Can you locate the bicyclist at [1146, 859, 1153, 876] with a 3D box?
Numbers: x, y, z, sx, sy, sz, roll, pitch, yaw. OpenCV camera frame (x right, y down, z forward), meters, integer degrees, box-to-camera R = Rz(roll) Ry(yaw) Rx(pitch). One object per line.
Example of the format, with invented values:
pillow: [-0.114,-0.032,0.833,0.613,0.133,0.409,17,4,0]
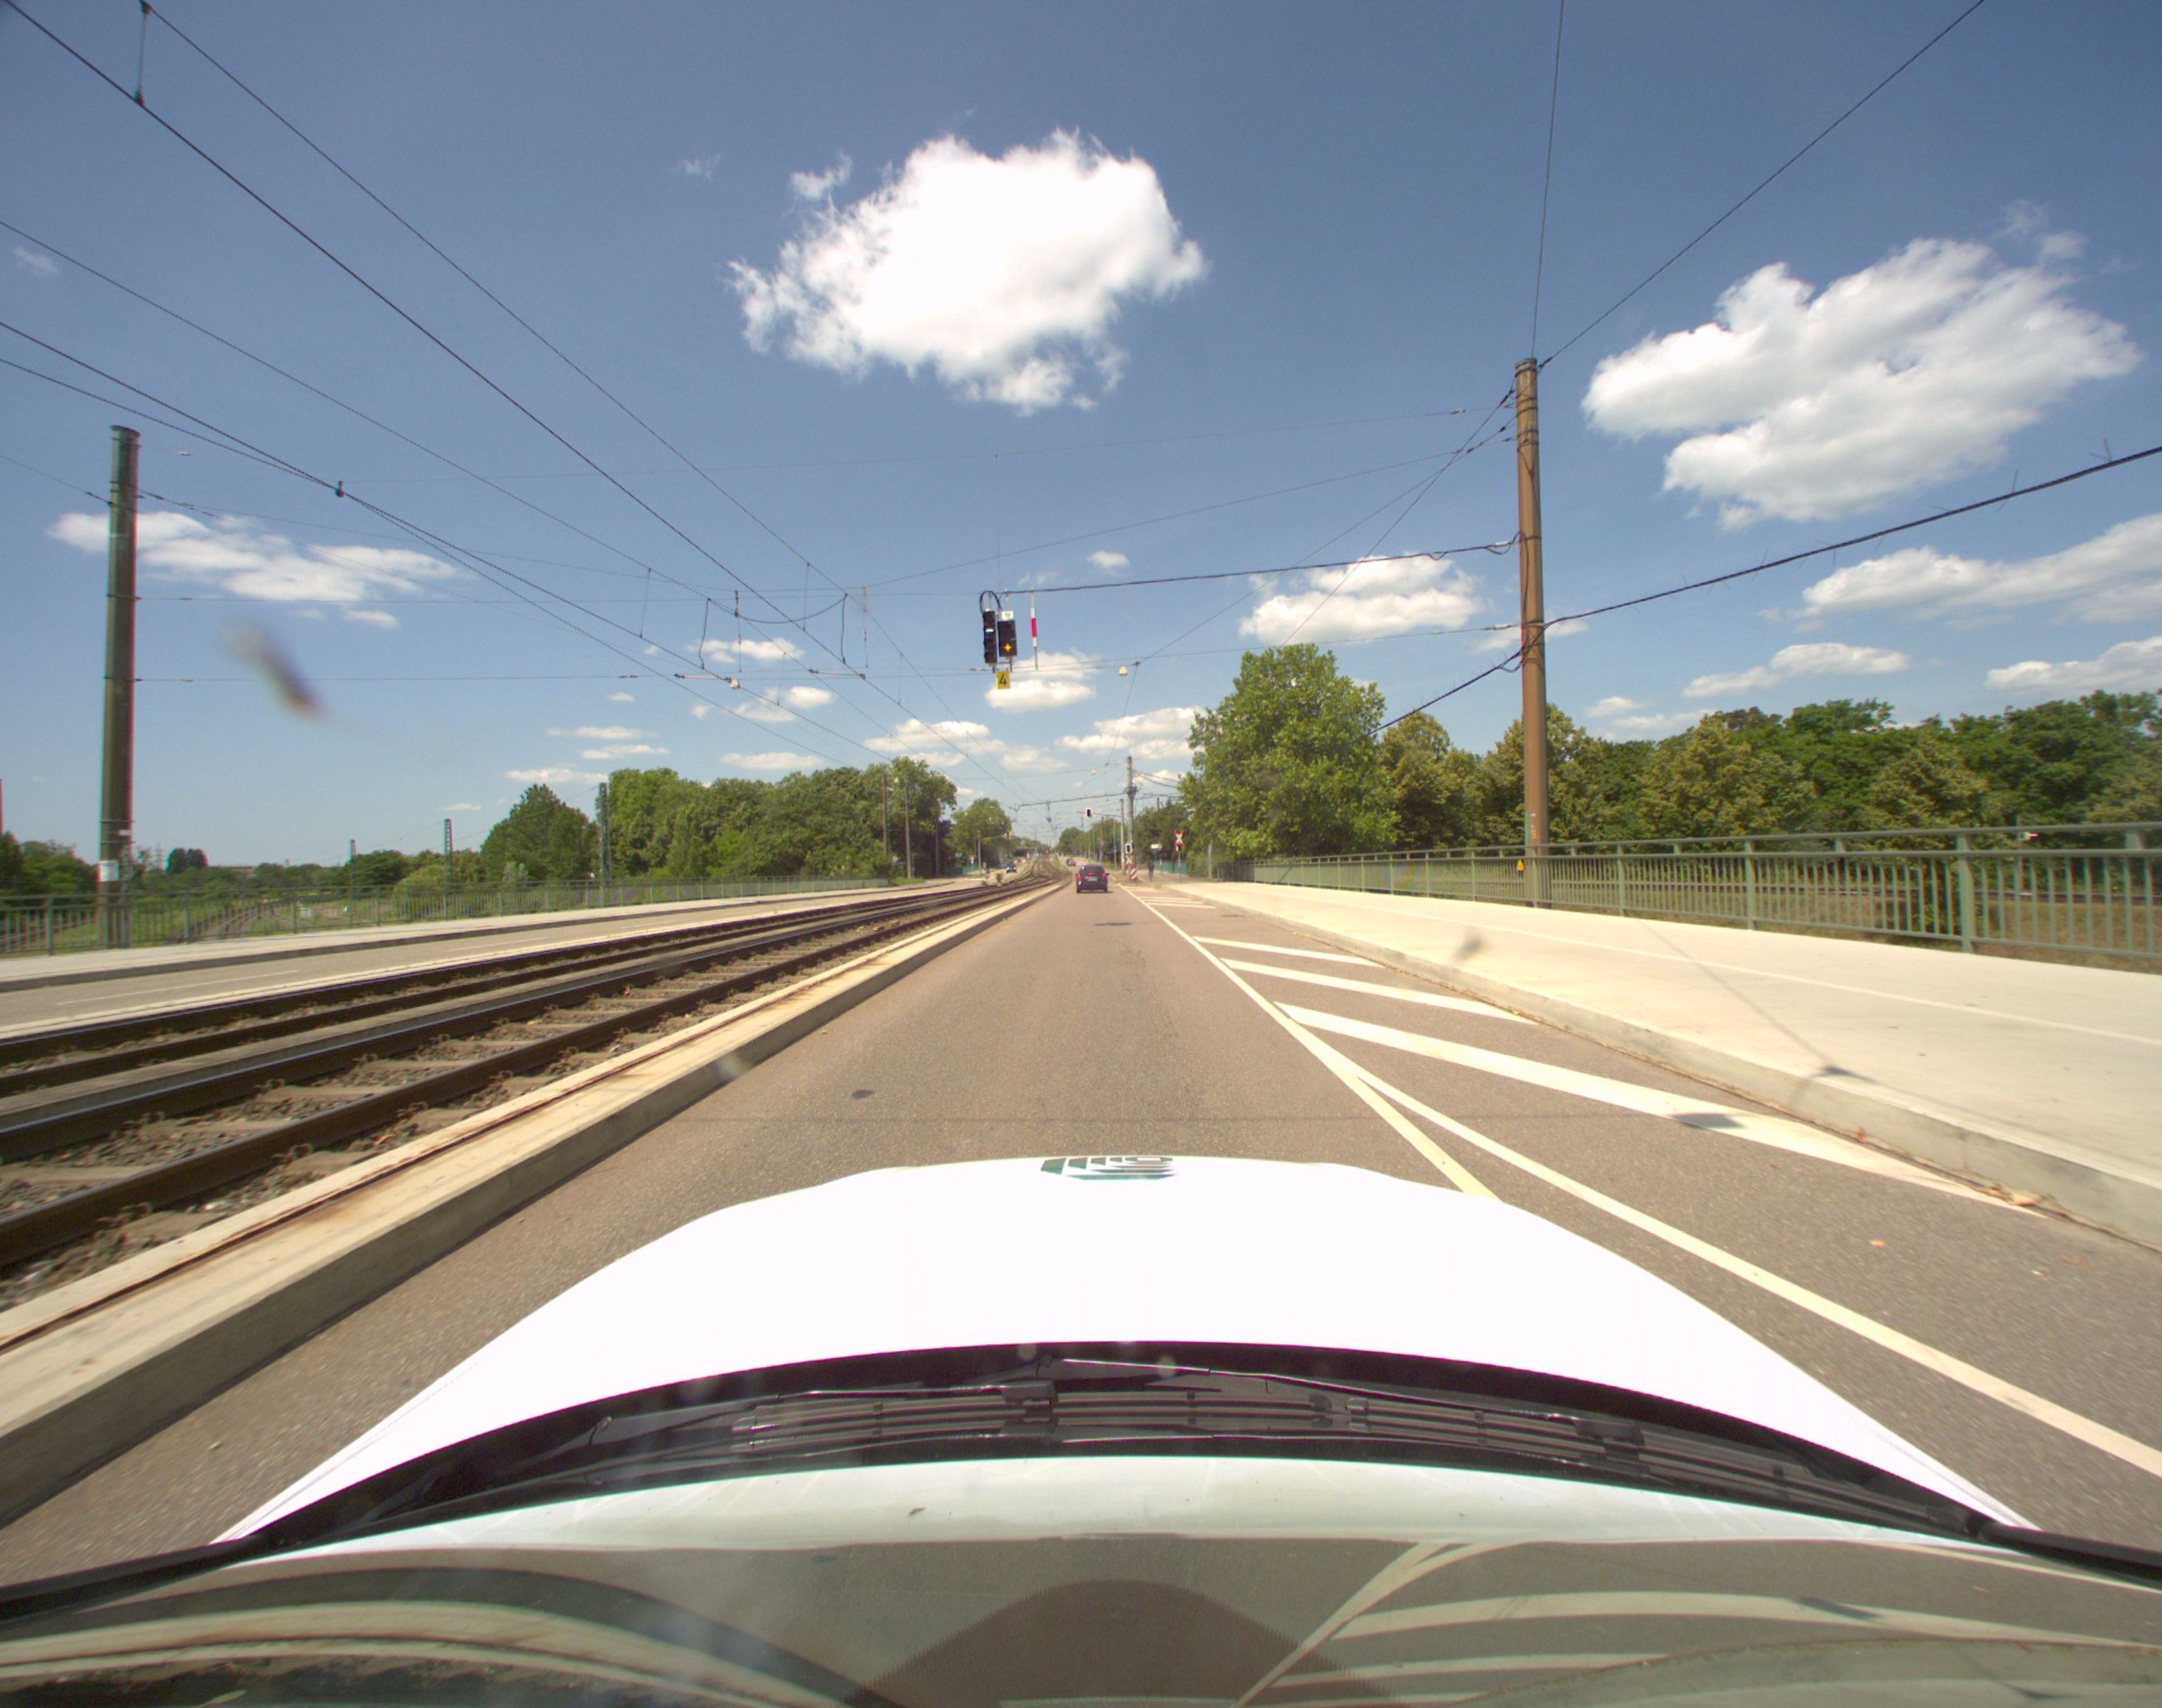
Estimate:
bicyclist: [6.022,1.159,71.496,0.583,1.495,0.558,0,1,2]

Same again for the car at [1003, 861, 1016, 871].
car: [-12.242,2.058,140.249,1.698,1.510,3.734,-2,-1,2]

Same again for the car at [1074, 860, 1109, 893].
car: [0.618,1.239,46.521,1.846,1.570,4.389,-1,2,1]

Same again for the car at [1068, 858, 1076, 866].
car: [-2.560,2.218,226.103,1.987,2.013,4.001,0,1,1]

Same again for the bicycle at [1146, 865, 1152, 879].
bicycle: [6.008,1.603,71.593,0.430,1.152,1.856,0,1,2]

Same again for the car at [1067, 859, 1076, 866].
car: [-2.268,2.010,191.915,1.878,1.640,4.002,2,1,2]
